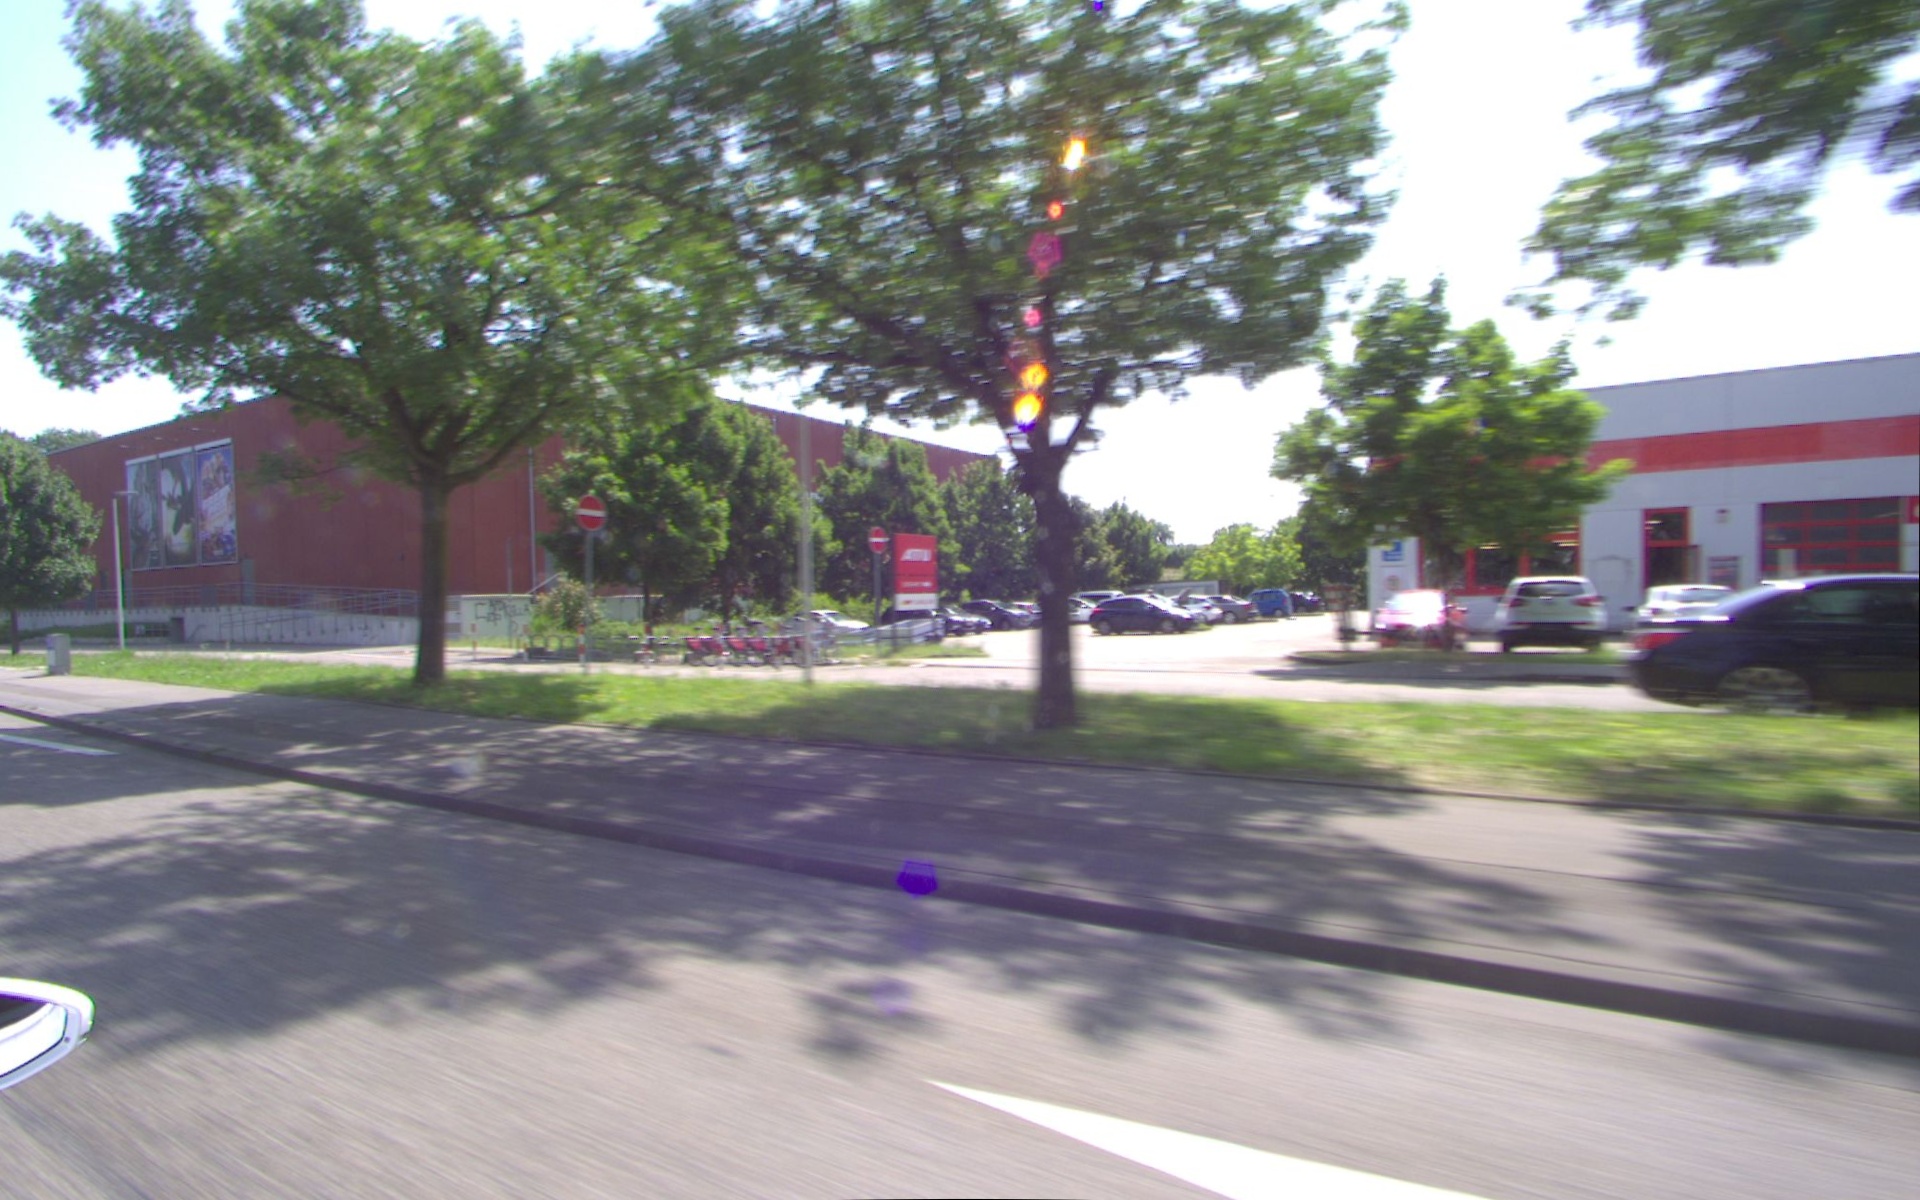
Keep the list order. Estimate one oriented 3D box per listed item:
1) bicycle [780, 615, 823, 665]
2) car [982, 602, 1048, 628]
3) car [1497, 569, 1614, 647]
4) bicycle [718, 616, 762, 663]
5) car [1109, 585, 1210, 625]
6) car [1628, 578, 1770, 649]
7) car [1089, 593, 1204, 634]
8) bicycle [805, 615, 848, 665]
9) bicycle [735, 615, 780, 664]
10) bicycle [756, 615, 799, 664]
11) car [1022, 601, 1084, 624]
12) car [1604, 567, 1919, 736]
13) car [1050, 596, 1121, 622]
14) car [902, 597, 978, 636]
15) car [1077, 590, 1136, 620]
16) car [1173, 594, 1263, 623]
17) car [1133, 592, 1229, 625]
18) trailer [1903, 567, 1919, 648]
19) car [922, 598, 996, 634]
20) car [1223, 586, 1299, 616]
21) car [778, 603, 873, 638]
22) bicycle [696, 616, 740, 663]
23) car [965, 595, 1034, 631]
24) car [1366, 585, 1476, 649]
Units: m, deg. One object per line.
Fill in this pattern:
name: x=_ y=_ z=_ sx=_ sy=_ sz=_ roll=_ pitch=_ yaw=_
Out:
bicycle: x=-3.666 y=0.920 z=23.262 sx=0.342 sy=1.099 sz=1.086 roll=0 pitch=1 yaw=32
car: x=3.015 y=0.823 z=55.053 sx=3.307 sy=1.307 sz=1.569 roll=-1 pitch=1 yaw=20
car: x=12.342 y=0.123 z=20.840 sx=1.913 sy=1.461 sz=3.980 roll=-1 pitch=1 yaw=30
bicycle: x=-5.341 y=0.949 z=24.352 sx=0.401 sy=1.099 sz=1.086 roll=0 pitch=1 yaw=32
car: x=8.645 y=0.223 z=43.456 sx=3.943 sy=1.641 sz=1.707 roll=-1 pitch=1 yaw=32
car: x=14.372 y=0.262 z=19.687 sx=1.881 sy=1.237 sz=3.980 roll=-1 pitch=-1 yaw=31
car: x=7.276 y=0.556 z=39.191 sx=4.090 sy=1.505 sz=1.743 roll=-2 pitch=-1 yaw=32
bicycle: x=-3.075 y=0.906 z=23.090 sx=0.342 sy=1.099 sz=1.086 roll=0 pitch=1 yaw=32
bicycle: x=-4.846 y=0.934 z=24.001 sx=0.401 sy=1.099 sz=1.086 roll=0 pitch=1 yaw=32
bicycle: x=-4.301 y=0.919 z=23.704 sx=0.342 sy=1.099 sz=1.086 roll=0 pitch=1 yaw=32
car: x=5.512 y=0.765 z=59.261 sx=3.320 sy=1.307 sz=1.563 roll=-1 pitch=1 yaw=34
car: x=8.697 y=0.437 z=9.219 sx=4.592 sy=1.443 sz=1.695 roll=-2 pitch=0 yaw=36
car: x=7.635 y=0.556 z=60.887 sx=3.943 sy=1.528 sz=1.644 roll=-1 pitch=1 yaw=32
car: x=-0.912 y=0.756 z=45.964 sx=3.147 sy=1.720 sz=1.405 roll=-1 pitch=1 yaw=25
car: x=9.171 y=0.341 z=62.653 sx=3.316 sy=1.817 sz=1.565 roll=-1 pitch=0 yaw=31
car: x=12.606 y=0.417 z=49.049 sx=3.943 sy=1.338 sz=1.707 roll=-1 pitch=1 yaw=32
car: x=10.022 y=0.396 z=45.433 sx=3.943 sy=1.439 sz=1.707 roll=-1 pitch=1 yaw=32
trailer: x=19.460 y=0.149 z=19.196 sx=1.393 sy=1.603 sz=3.595 roll=0 pitch=1 yaw=33
car: x=-0.044 y=0.782 z=48.759 sx=3.321 sy=1.662 sz=1.563 roll=-1 pitch=1 yaw=36
car: x=17.711 y=0.064 z=58.945 sx=3.943 sy=1.684 sz=1.694 roll=-1 pitch=1 yaw=32
car: x=-5.437 y=0.812 z=40.331 sx=3.817 sy=1.307 sz=1.408 roll=-1 pitch=1 yaw=34
bicycle: x=-5.987 y=0.969 z=24.824 sx=0.401 sy=1.099 sz=1.086 roll=0 pitch=1 yaw=32
car: x=2.083 y=0.707 z=52.853 sx=3.307 sy=1.818 sz=1.569 roll=-1 pitch=1 yaw=20
car: x=10.464 y=0.431 z=22.610 sx=1.794 sy=1.323 sz=3.558 roll=-1 pitch=-2 yaw=33
